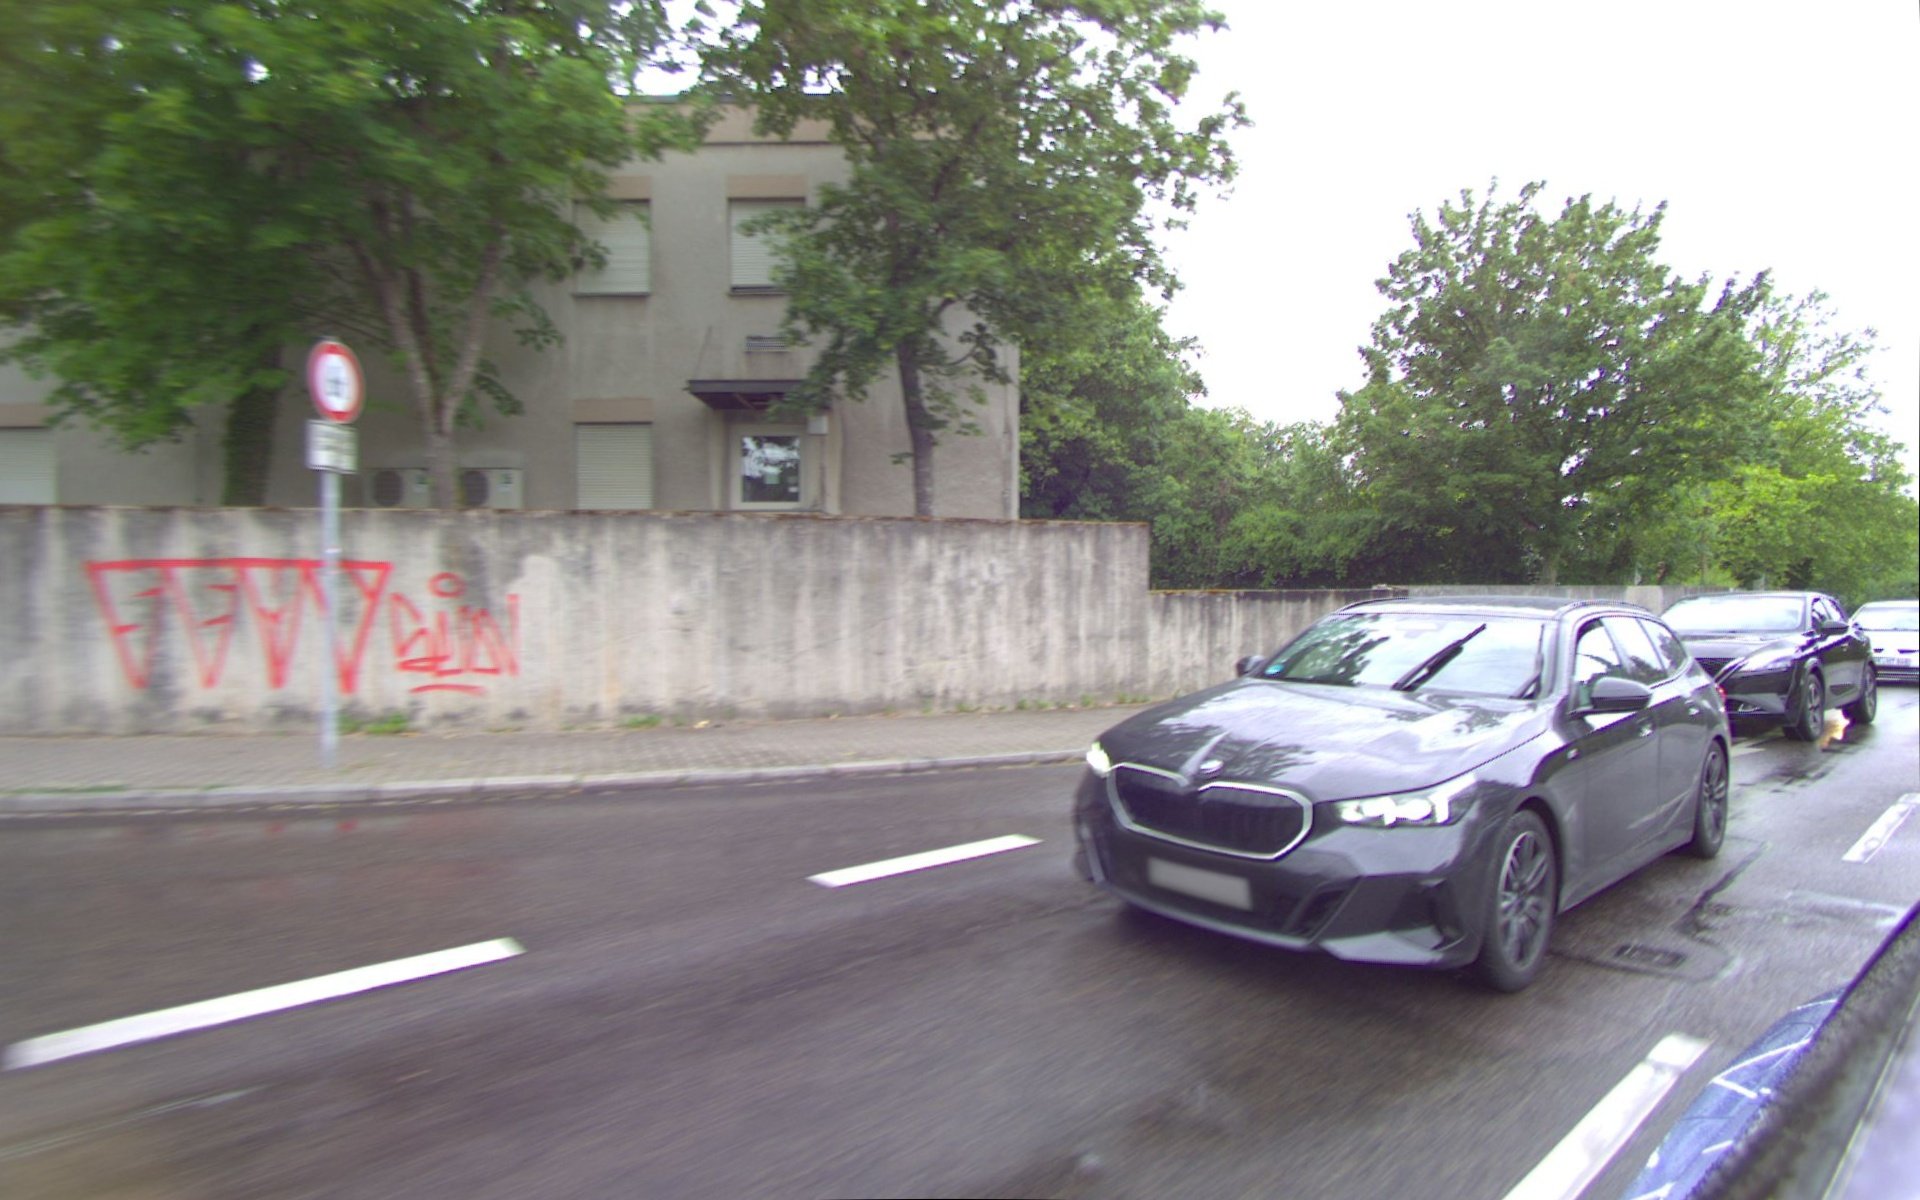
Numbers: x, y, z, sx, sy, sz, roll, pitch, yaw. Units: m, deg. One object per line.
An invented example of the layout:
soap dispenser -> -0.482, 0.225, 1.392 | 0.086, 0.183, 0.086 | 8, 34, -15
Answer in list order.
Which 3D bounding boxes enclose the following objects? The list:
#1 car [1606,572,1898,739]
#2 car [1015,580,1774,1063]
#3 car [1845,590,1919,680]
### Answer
car -> 9.370, 0.533, 11.864 | 4.176, 1.624, 1.794 | 0, 0, -39
car -> 2.631, 0.664, 5.399 | 4.695, 1.477, 1.908 | 0, 1, -42
car -> 17.798, 0.595, 18.689 | 3.930, 1.523, 1.639 | 0, 1, -41
